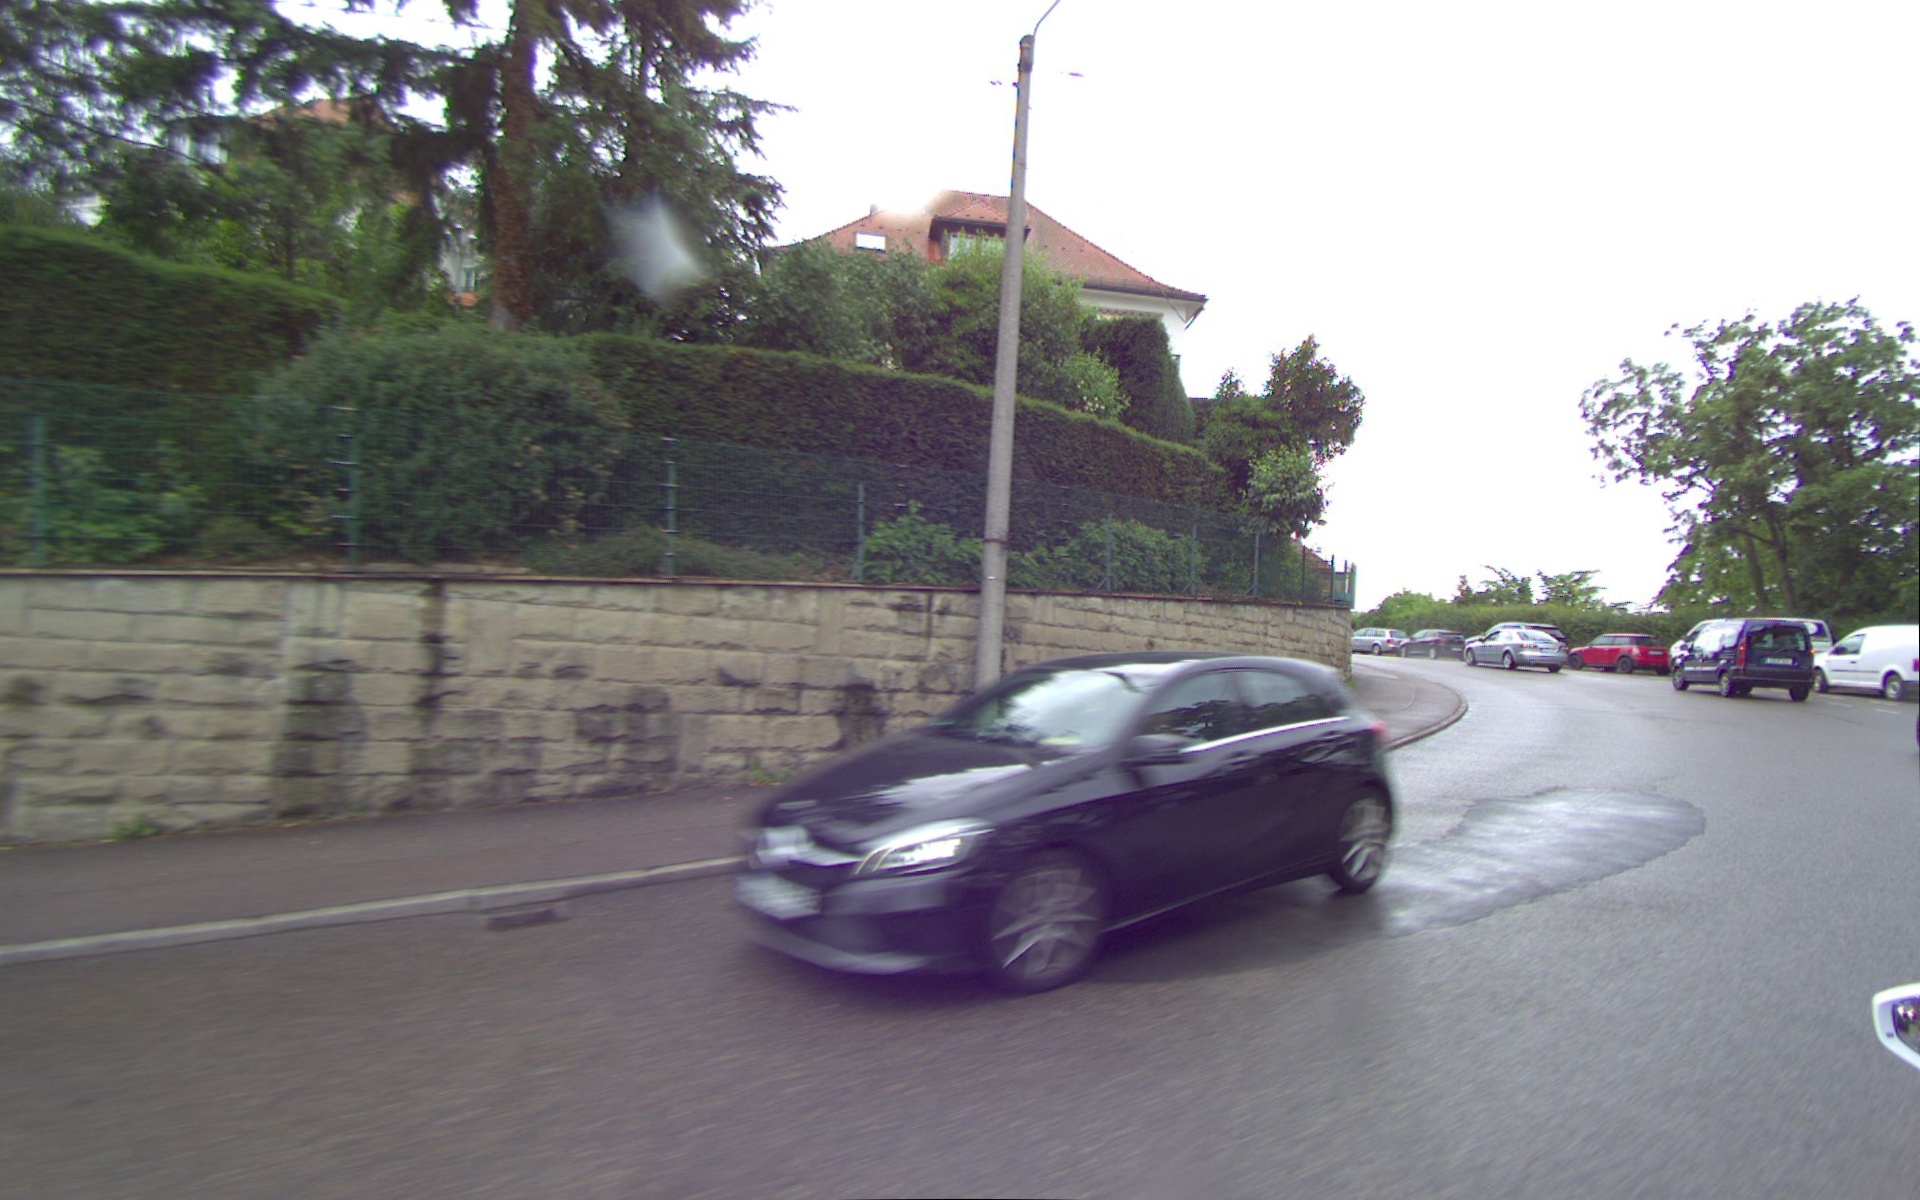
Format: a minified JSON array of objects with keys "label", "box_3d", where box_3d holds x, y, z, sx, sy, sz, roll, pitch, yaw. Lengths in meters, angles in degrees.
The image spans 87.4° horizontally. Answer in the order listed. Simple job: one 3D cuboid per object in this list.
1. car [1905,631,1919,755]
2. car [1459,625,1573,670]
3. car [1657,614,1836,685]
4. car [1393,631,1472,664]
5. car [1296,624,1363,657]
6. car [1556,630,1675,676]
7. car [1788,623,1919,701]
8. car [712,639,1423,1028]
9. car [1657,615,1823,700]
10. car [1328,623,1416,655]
[{"label":"car","box_3d":[12.308,1.144,11.206,1.956,1.574,4.284,0,-2,35]},{"label":"car","box_3d":[19.658,1.686,35.707,1.823,1.477,4.097,0,-2,1]},{"label":"car","box_3d":[24.148,1.466,31.127,1.829,1.974,4.809,2,-1,1]},{"label":"car","box_3d":[22.784,2.262,48.557,1.662,1.440,3.981,3,-2,-4]},{"label":"car","box_3d":[22.113,2.387,60.295,1.858,1.684,4.543,5,-1,-7]},{"label":"car","box_3d":[24.254,1.929,37.315,1.645,1.432,3.738,3,-1,-7]},{"label":"car","box_3d":[23.349,1.508,25.310,1.828,1.794,4.382,2,-1,9]},{"label":"car","box_3d":[0.842,0.962,5.808,4.081,1.453,1.773,2,-3,-40]},{"label":"car","box_3d":[19.011,1.389,24.718,1.793,1.907,4.097,-1,-2,17]},{"label":"car","box_3d":[22.392,2.097,54.797,1.778,1.459,4.622,5,-1,-19]}]
